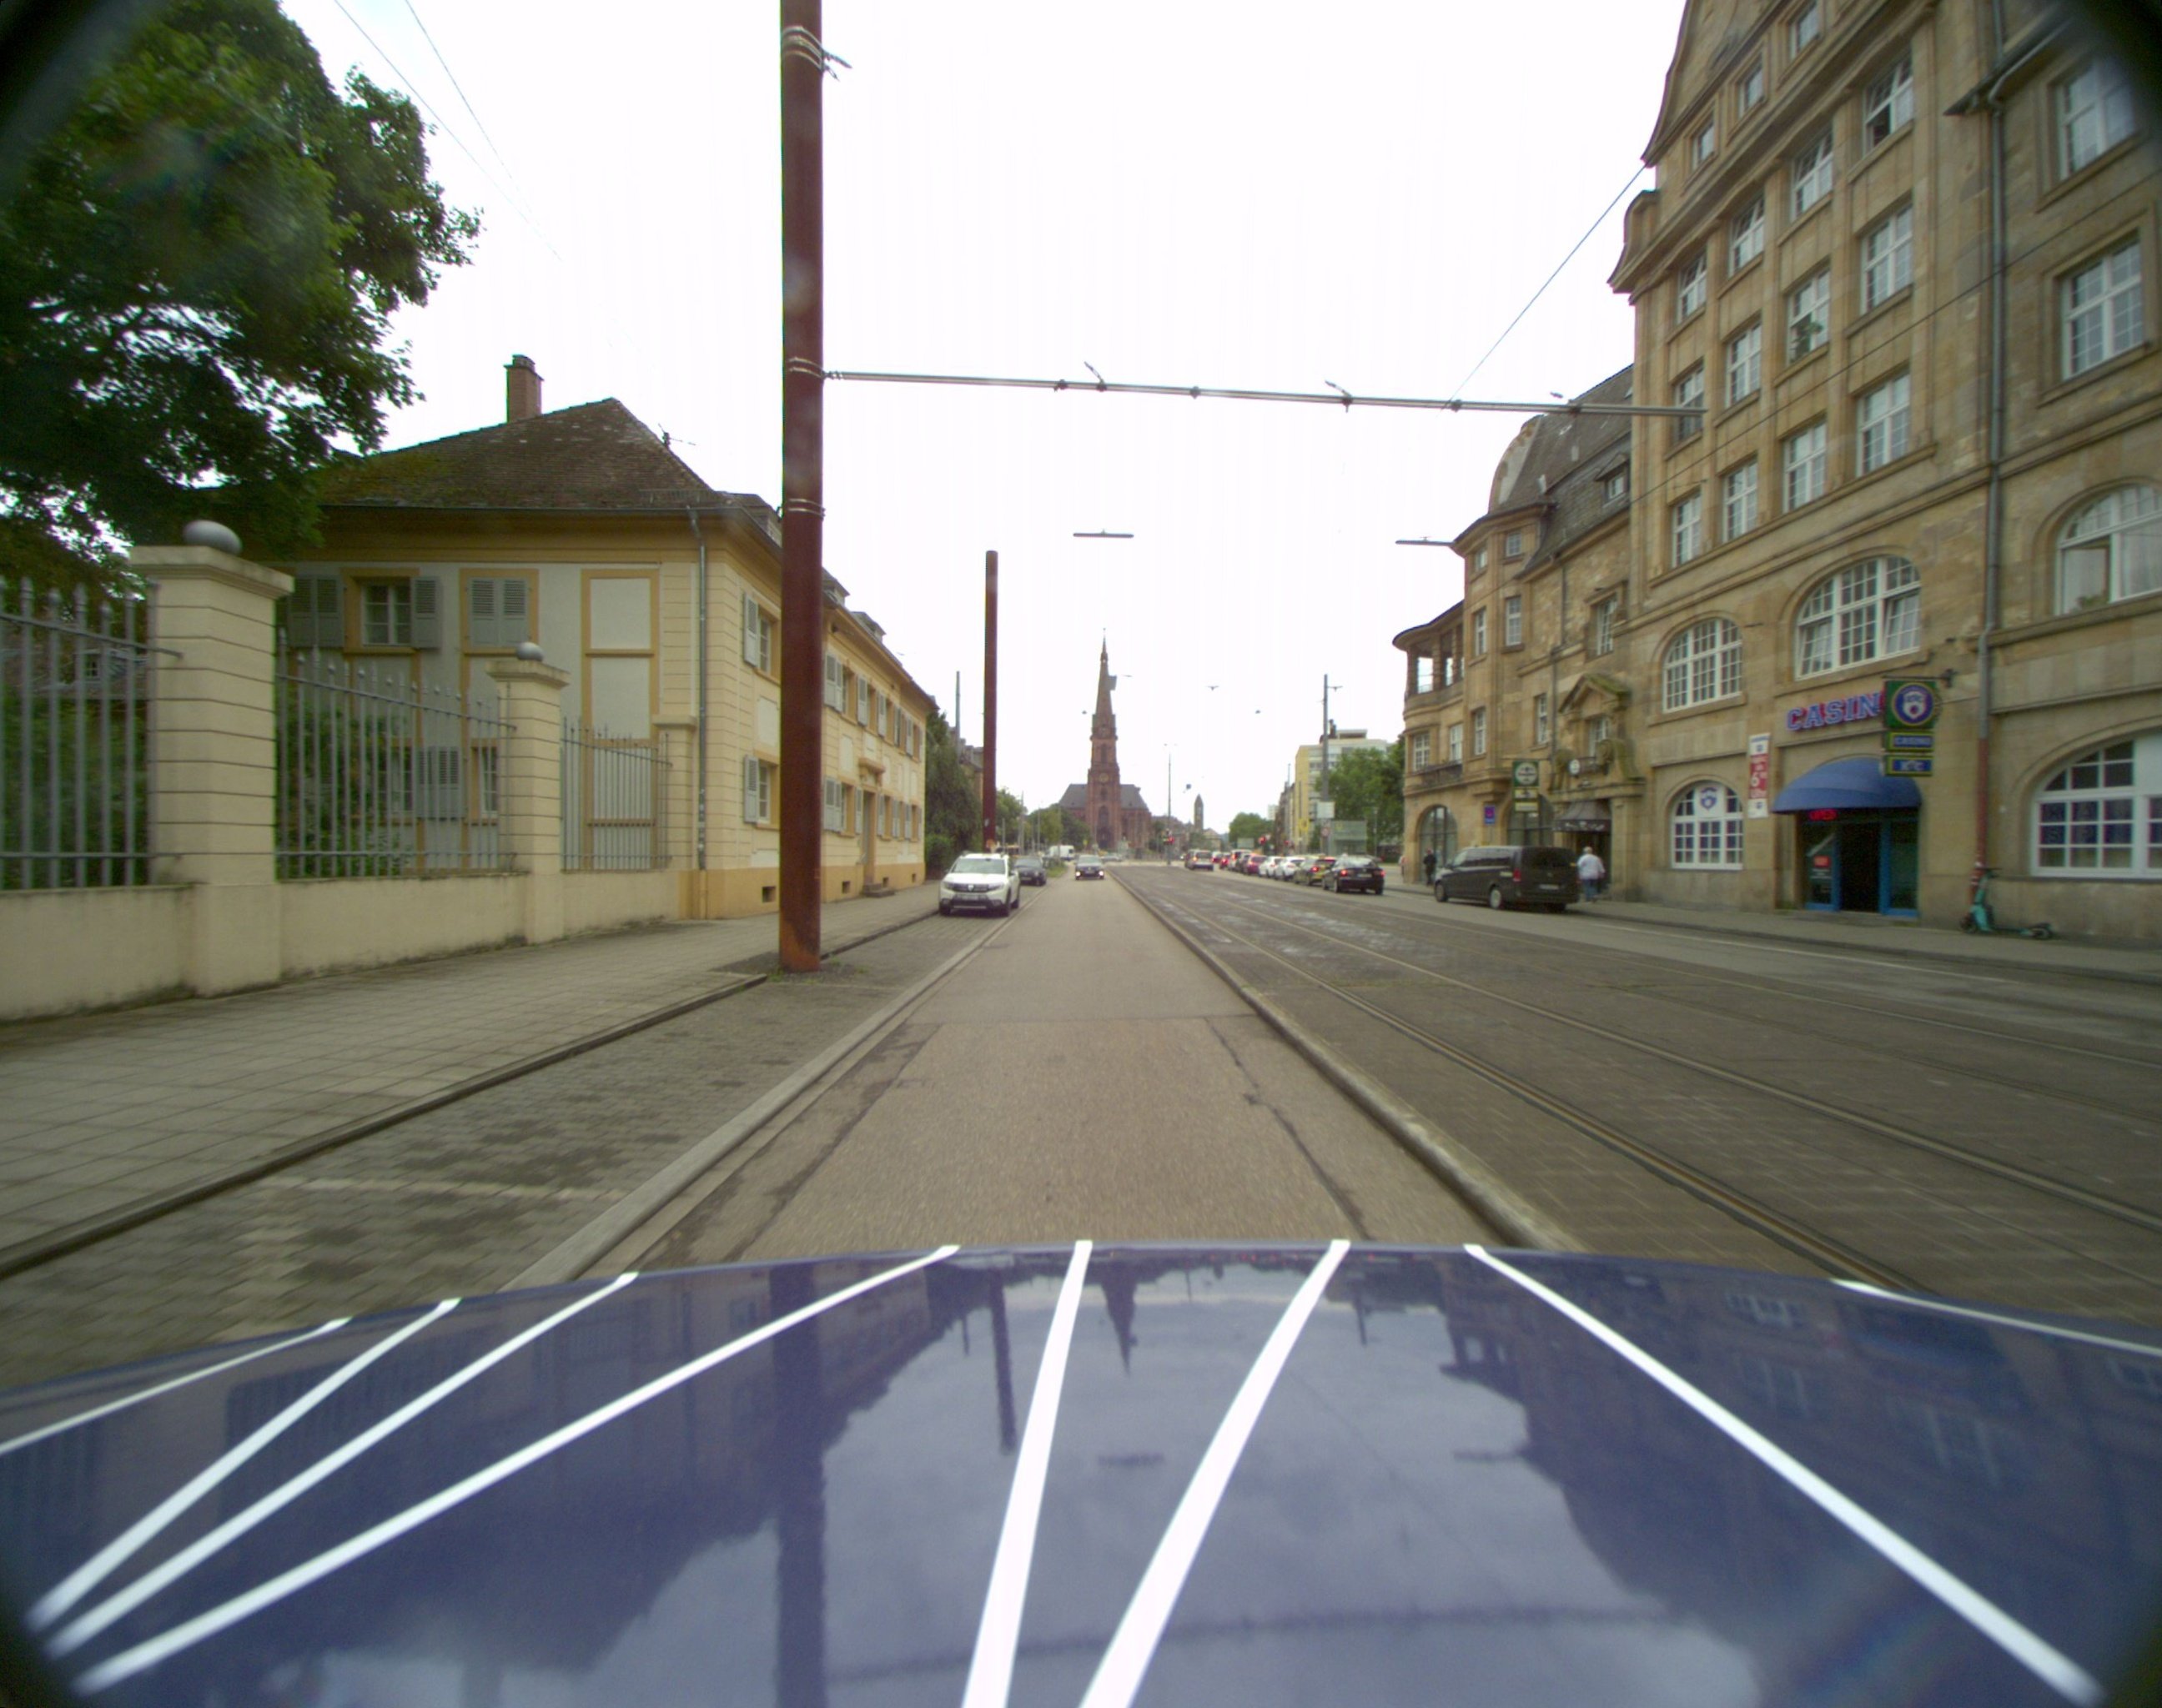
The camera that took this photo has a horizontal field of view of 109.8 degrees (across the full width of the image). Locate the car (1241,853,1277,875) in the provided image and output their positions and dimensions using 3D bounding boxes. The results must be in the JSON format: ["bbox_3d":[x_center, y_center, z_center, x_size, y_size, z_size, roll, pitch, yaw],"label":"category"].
[{"bbox_3d":[12.686,0.693,54.390,1.867,1.391,3.896,2,0,4],"label":"car"}]

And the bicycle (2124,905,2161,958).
[{"bbox_3d":[16.269,1.163,10.783,0.583,0.741,1.706,0,0,1],"label":"bicycle"}]

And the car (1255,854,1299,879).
[{"bbox_3d":[12.535,0.770,48.872,1.751,1.372,4.362,3,0,2],"label":"car"}]

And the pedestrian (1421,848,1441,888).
[{"bbox_3d":[15.376,0.616,33.353,0.496,1.718,0.765,0,1,-3],"label":"pedestrian"}]

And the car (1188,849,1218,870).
[{"bbox_3d":[10.482,0.413,65.591,1.867,1.696,4.909,1,0,2],"label":"car"}]

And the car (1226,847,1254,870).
[{"bbox_3d":[13.830,0.363,66.437,1.867,1.905,5.102,0,0,5],"label":"car"}]

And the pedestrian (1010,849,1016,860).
[{"bbox_3d":[-11.685,0.043,130.495,0.782,1.932,0.980,0,1,-22],"label":"pedestrian"}]

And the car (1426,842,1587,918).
[{"bbox_3d":[12.546,0.682,22.893,1.904,1.965,5.097,2,0,0],"label":"car"}]

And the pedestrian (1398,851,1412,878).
[{"bbox_3d":[20.486,0.643,48.092,0.533,1.709,0.631,0,1,-20],"label":"pedestrian"}]

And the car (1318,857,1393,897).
[{"bbox_3d":[10.908,0.857,30.528,1.830,1.425,4.670,2,0,7],"label":"car"}]

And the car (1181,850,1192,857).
[{"bbox_3d":[21.896,-0.054,157.533,1.997,1.433,4.003,0,0,10],"label":"car"}]

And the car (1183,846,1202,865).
[{"bbox_3d":[11.366,0.173,77.656,1.692,1.889,4.387,0,1,4],"label":"car"}]

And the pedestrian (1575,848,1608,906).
[{"bbox_3d":[15.314,0.695,22.800,0.599,1.718,0.523,0,1,-3],"label":"pedestrian"}]

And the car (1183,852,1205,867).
[{"bbox_3d":[10.617,0.494,71.555,1.692,1.434,4.001,0,1,4],"label":"car"}]

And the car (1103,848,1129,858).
[{"bbox_3d":[5.996,-0.151,129.785,3.988,1.740,2.004,1,2,37],"label":"car"}]

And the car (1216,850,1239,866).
[{"bbox_3d":[14.027,0.372,72.768,1.692,1.434,4.001,0,1,4],"label":"car"}]

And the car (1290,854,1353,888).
[{"bbox_3d":[11.623,0.770,36.991,1.903,1.502,4.429,1,0,4],"label":"car"}]

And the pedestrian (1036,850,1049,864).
[{"bbox_3d":[-4.862,0.381,95.755,1.283,1.856,0.889,1,1,34],"label":"pedestrian"}]

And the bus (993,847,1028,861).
[{"bbox_3d":[-16.145,-0.114,172.968,2.869,3.060,11.989,-1,2,-31],"label":"bus"}]

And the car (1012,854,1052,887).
[{"bbox_3d":[-2.324,0.757,37.178,1.641,1.425,3.930,2,0,0],"label":"car"}]

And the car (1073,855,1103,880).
[{"bbox_3d":[0.373,0.753,44.769,1.655,1.404,3.999,0,0,-1],"label":"car"}]

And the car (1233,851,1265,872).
[{"bbox_3d":[13.145,0.586,59.613,1.867,1.525,4.304,2,0,5],"label":"car"}]

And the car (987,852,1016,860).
[{"bbox_3d":[-14.280,0.413,136.409,4.653,1.412,2.002,0,0,13],"label":"car"}]

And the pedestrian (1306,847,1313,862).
[{"bbox_3d":[25.401,0.076,84.445,0.601,1.718,0.914,0,1,26],"label":"pedestrian"}]

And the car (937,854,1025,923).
[{"bbox_3d":[-2.545,0.835,20.170,1.759,1.565,3.930,2,0,0],"label":"car"}]

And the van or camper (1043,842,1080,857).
[{"bbox_3d":[-3.371,-0.828,130.922,6.034,2.596,2.428,1,2,33],"label":"van or camper"}]

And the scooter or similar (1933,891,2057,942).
[{"bbox_3d":[16.189,1.090,13.498,0.583,0.798,1.345,0,0,1],"label":"scooter or similar"}]

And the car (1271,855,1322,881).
[{"bbox_3d":[12.210,0.776,43.229,1.931,1.372,4.259,0,0,4],"label":"car"}]
